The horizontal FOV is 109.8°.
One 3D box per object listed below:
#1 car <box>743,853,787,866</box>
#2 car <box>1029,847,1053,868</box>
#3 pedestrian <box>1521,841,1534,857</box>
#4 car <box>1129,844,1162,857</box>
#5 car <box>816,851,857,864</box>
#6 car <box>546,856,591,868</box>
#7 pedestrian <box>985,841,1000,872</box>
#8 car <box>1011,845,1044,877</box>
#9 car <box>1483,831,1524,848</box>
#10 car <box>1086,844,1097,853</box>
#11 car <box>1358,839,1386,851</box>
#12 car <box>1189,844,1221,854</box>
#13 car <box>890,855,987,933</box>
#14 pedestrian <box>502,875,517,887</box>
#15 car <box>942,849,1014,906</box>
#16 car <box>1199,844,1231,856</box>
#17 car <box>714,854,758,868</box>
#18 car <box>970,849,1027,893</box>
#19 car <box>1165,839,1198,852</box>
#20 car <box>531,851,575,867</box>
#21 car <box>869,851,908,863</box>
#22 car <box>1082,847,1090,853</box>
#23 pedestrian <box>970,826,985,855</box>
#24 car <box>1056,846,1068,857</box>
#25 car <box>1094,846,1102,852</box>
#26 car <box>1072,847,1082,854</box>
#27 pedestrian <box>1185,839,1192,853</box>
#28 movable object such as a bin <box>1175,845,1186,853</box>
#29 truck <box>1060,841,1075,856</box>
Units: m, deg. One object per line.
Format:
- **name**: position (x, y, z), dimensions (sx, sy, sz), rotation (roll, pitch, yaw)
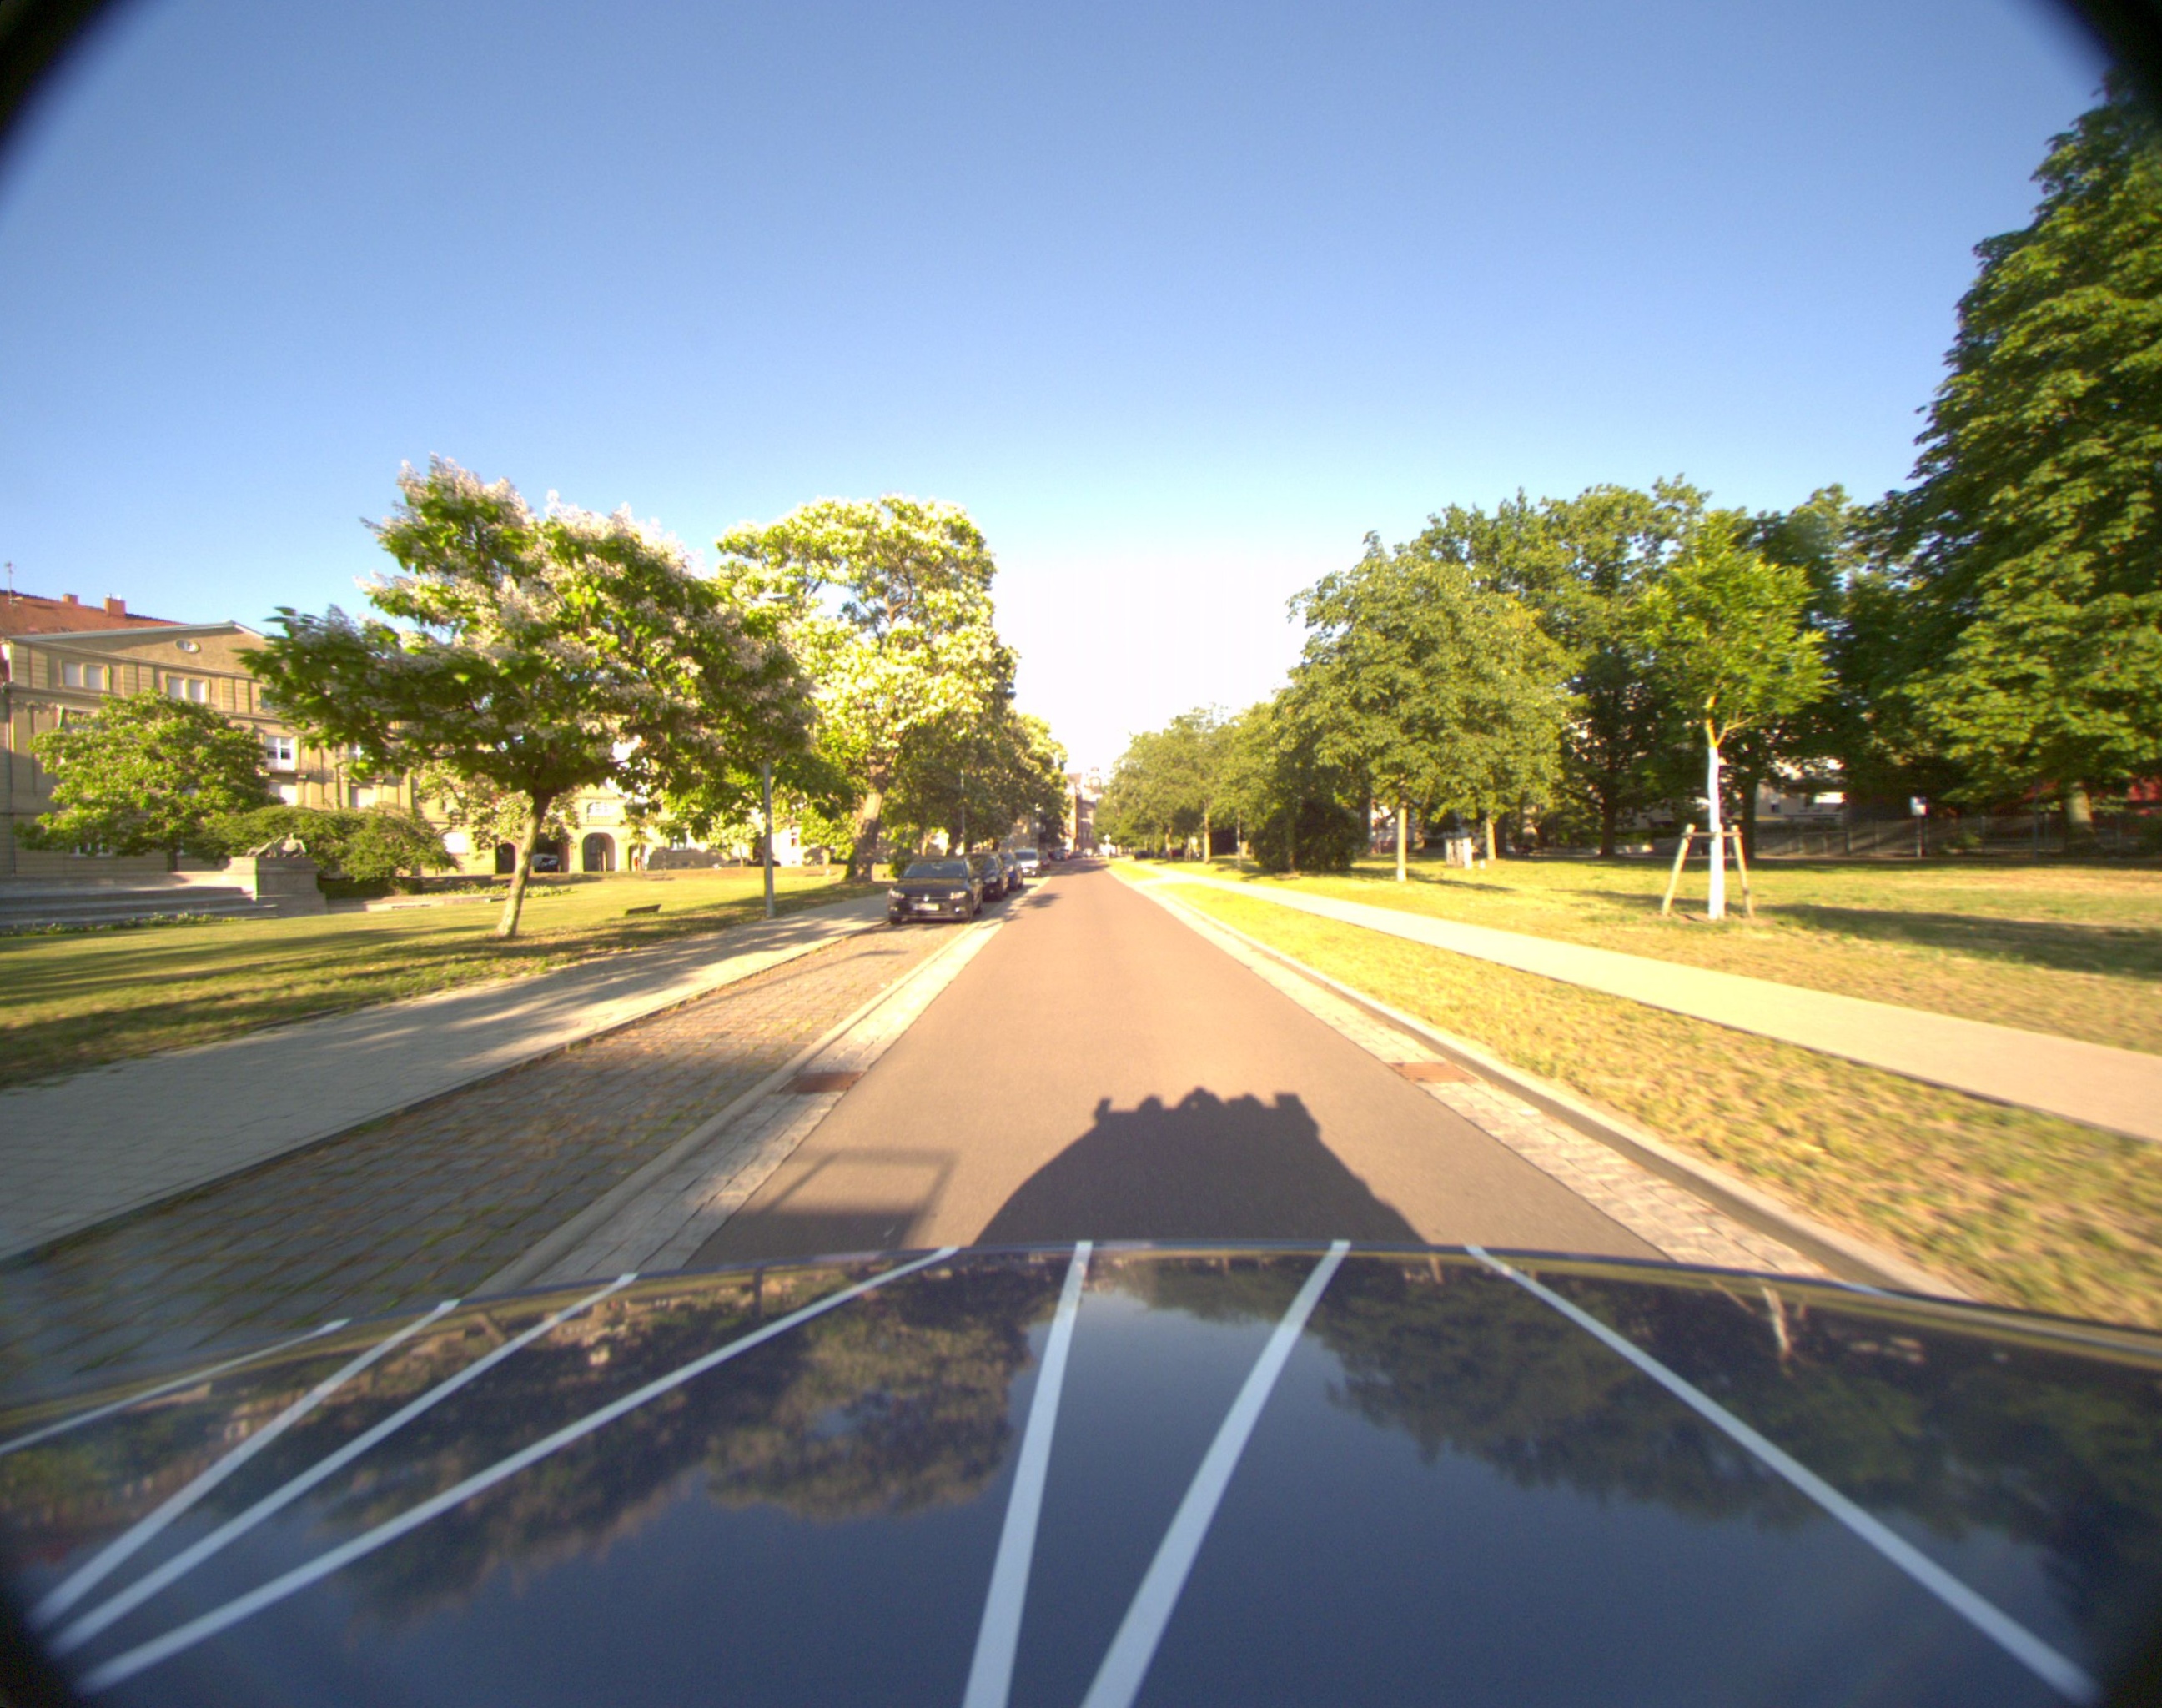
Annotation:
- **car**: position (-38.591, 0.676, 92.881), dimensions (4.657, 1.409, 1.815), rotation (-2, 1, -31)
- **car**: position (-3.121, 0.231, 59.686), dimensions (1.682, 1.477, 4.808), rotation (-1, 1, 0)
- **pedestrian**: position (28.355, -0.324, 48.216), dimensions (0.549, 0.981, 0.610), rotation (-1, 2, 11)
- **car**: position (8.715, -0.526, 102.213), dimensions (4.004, 1.565, 1.886), rotation (-2, 3, -25)
- **car**: position (-29.198, 0.452, 90.683), dimensions (4.443, 1.409, 1.563), rotation (-1, 1, -23)
- **car**: position (-65.786, 0.986, 97.537), dimensions (1.814, 1.409, 4.380), rotation (0, 1, 35)
- **pedestrian**: position (-5.182, 0.140, 44.549), dimensions (0.755, 1.726, 0.731), rotation (-2, 1, 1)
- **car**: position (-3.164, 0.369, 45.620), dimensions (1.682, 1.730, 4.512), rotation (-1, 1, 0)
- **car**: position (42.552, -1.416, 76.596), dimensions (1.998, 1.608, 3.737), rotation (-2, 1, 0)
- **car**: position (2.516, -1.337, 186.661), dimensions (2.118, 1.942, 4.762), rotation (-1, 1, 7)
- **car**: position (39.339, -1.224, 102.730), dimensions (1.999, 1.608, 3.735), rotation (-2, 1, -6)
- **car**: position (18.421, -0.722, 112.900), dimensions (4.281, 1.392, 1.836), rotation (-1, 1, -22)
- **car**: position (-3.115, 0.803, 17.372), dimensions (1.631, 1.456, 4.247), rotation (-1, 1, -3)
- **pedestrian**: position (-42.792, 2.000, 56.890), dimensions (0.576, 0.876, 0.678), rotation (-1, 2, 38)
- **car**: position (-3.148, 0.667, 23.953), dimensions (1.736, 1.542, 4.421), rotation (-1, 1, -1)
- **car**: position (18.776, -0.580, 106.690), dimensions (4.003, 1.565, 1.887), rotation (-2, 3, -21)
- **car**: position (-38.887, 0.815, 85.739), dimensions (4.378, 1.409, 1.815), rotation (-1, 1, -30)
- **car**: position (-3.196, 0.614, 30.204), dimensions (1.736, 1.542, 4.275), rotation (-1, 1, 1)
- **car**: position (13.820, -1.198, 104.472), dimensions (4.004, 1.565, 1.886), rotation (-2, 3, -25)
- **car**: position (-70.561, 0.636, 101.595), dimensions (1.814, 2.096, 4.380), rotation (0, 2, 37)
- **car**: position (-23.552, 0.328, 92.913), dimensions (4.371, 1.409, 1.842), rotation (-1, 1, -20)
- **car**: position (1.243, -0.945, 174.233), dimensions (1.509, 1.437, 3.731), rotation (-1, 1, 6)
- **pedestrian**: position (-6.200, -0.790, 45.431), dimensions (0.727, 1.726, 0.731), rotation (-2, 1, 1)
- **car**: position (-2.780, -0.319, 112.988), dimensions (1.707, 1.616, 4.348), rotation (1, 0, 0)
- **car**: position (4.386, -1.258, 195.739), dimensions (1.582, 1.499, 3.848), rotation (-1, 1, 7)
- **car**: position (-0.842, -0.795, 158.455), dimensions (1.610, 1.349, 3.549), rotation (-1, 1, 6)
- **pedestrian**: position (13.380, -1.018, 94.643), dimensions (0.663, 1.686, 0.672), rotation (-2, 1, 2)
- **movable object such as a bin**: position (12.396, -0.640, 94.728), dimensions (1.332, 0.984, 0.949), rotation (-1, 1, 2)
- **truck**: position (-2.354, -1.033, 135.029), dimensions (2.133, 2.549, 6.876), rotation (-1, 1, 2)
